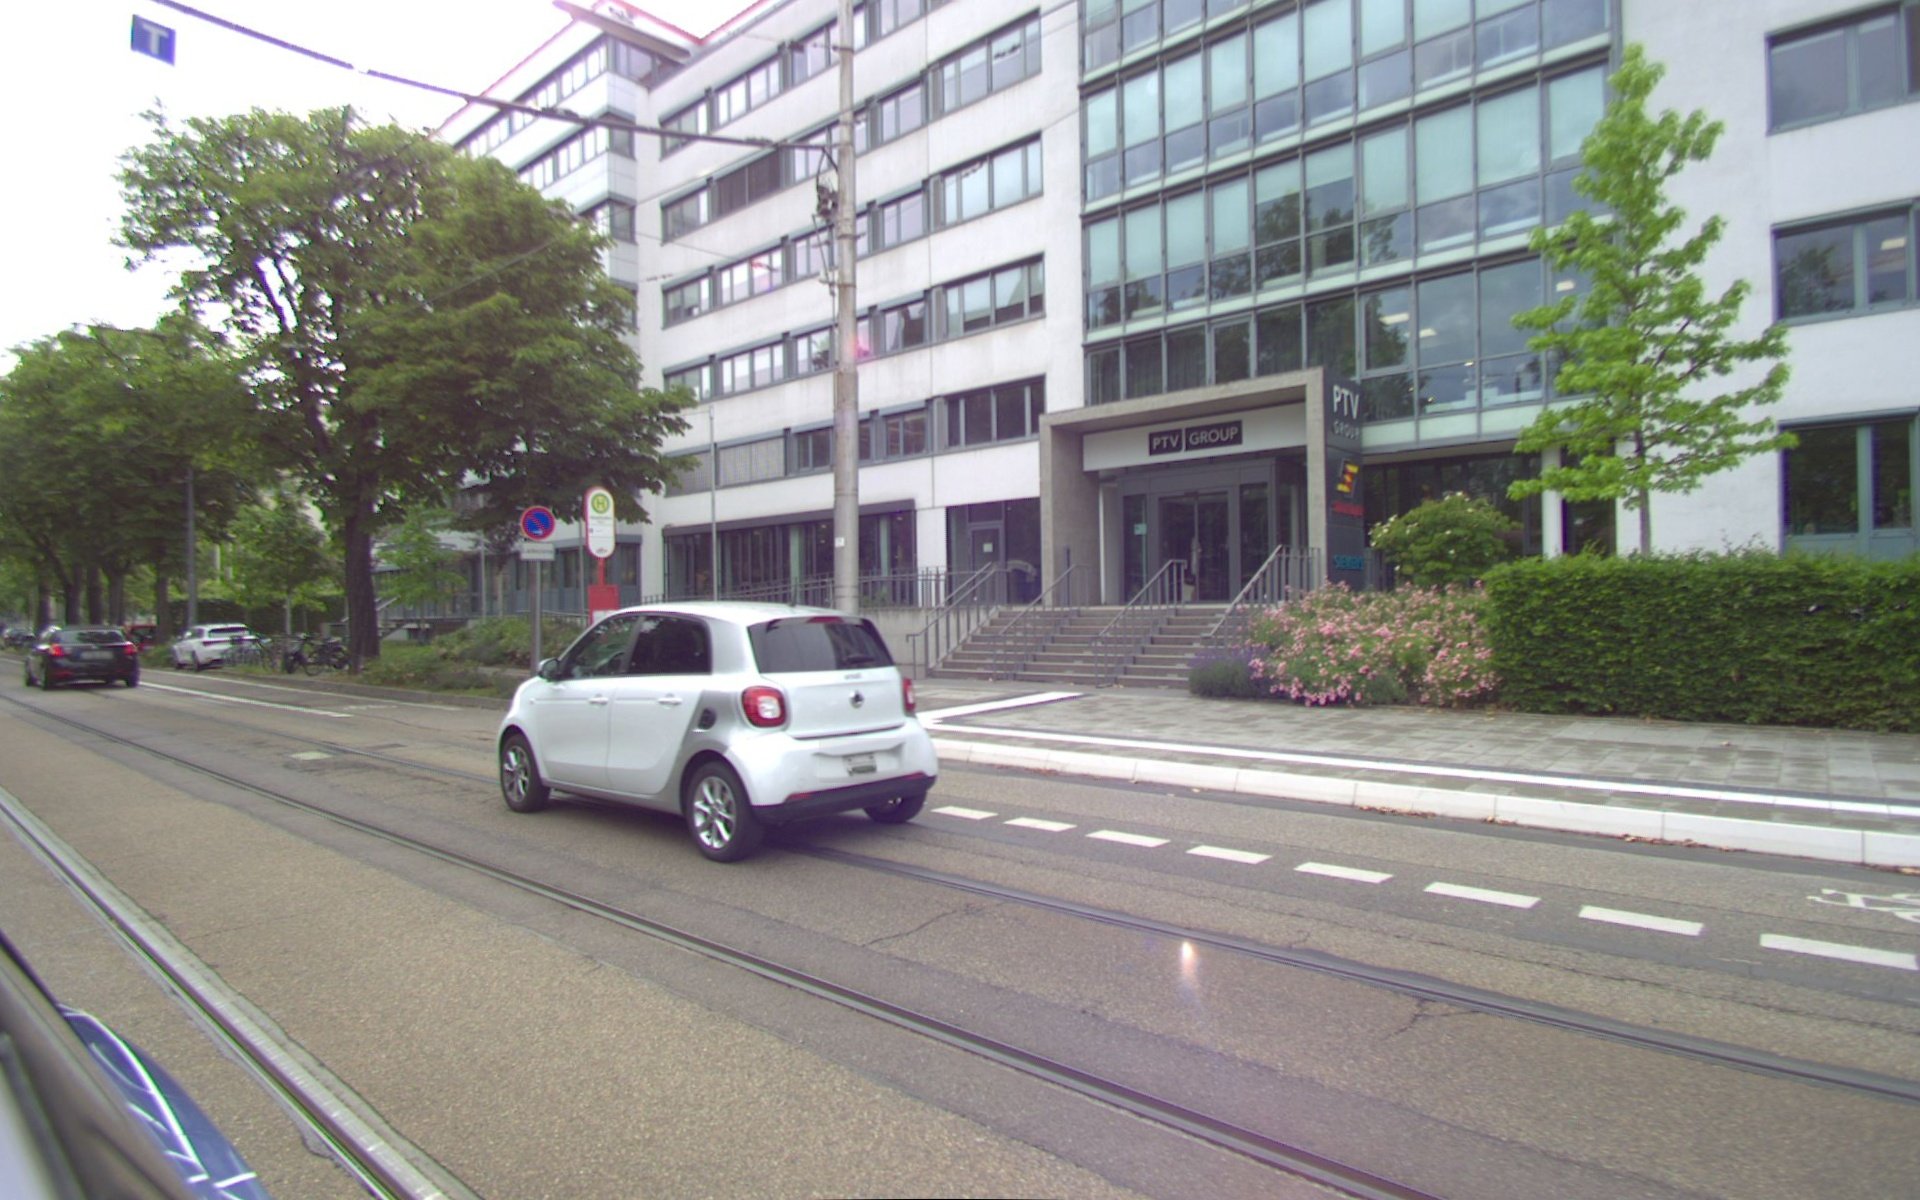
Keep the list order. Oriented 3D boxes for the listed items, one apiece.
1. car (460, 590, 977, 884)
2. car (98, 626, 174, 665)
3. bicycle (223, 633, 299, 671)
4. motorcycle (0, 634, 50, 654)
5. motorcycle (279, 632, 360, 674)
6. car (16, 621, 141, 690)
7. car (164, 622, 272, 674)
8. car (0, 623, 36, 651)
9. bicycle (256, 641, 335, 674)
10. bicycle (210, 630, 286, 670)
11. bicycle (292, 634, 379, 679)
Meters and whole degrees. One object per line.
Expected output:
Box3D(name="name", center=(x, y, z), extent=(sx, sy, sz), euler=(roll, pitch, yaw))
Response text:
Box3D(name="car", center=(-1.858, 0.738, 7.167), extent=(3.739, 1.541, 1.686), euler=(-1, -1, 40))
Box3D(name="car", center=(-34.310, 1.859, 42.098), extent=(3.752, 1.458, 1.613), euler=(-1, 2, 38))
Box3D(name="bicycle", center=(-21.140, 1.554, 30.632), extent=(0.631, 1.108, 1.790), euler=(0, -1, 35))
Box3D(name="motorcycle", center=(-56.247, 2.635, 60.888), extent=(2.100, 1.111, 0.776), euler=(-2, 1, -7))
Box3D(name="motorcycle", center=(-17.875, 1.466, 28.290), extent=(0.731, 1.058, 1.773), euler=(-1, 0, 34))
Box3D(name="car", center=(-21.138, 1.303, 24.220), extent=(4.061, 1.497, 1.729), euler=(-3, -2, 41))
Box3D(name="car", center=(-24.374, 1.532, 33.182), extent=(4.751, 1.504, 1.862), euler=(-2, 1, 41))
Box3D(name="car", center=(-62.582, 2.410, 67.027), extent=(4.002, 1.722, 1.791), euler=(-1, 1, 44))
Box3D(name="bicycle", center=(-19.183, 1.644, 29.236), extent=(0.631, 0.906, 1.790), euler=(0, -1, 35))
Box3D(name="bicycle", center=(-21.965, 1.521, 31.245), extent=(1.843, 1.195, 0.633), euler=(1, -2, -45))
Box3D(name="bicycle", center=(-16.389, 1.464, 26.589), extent=(0.739, 1.061, 1.814), euler=(-2, -1, 32))
